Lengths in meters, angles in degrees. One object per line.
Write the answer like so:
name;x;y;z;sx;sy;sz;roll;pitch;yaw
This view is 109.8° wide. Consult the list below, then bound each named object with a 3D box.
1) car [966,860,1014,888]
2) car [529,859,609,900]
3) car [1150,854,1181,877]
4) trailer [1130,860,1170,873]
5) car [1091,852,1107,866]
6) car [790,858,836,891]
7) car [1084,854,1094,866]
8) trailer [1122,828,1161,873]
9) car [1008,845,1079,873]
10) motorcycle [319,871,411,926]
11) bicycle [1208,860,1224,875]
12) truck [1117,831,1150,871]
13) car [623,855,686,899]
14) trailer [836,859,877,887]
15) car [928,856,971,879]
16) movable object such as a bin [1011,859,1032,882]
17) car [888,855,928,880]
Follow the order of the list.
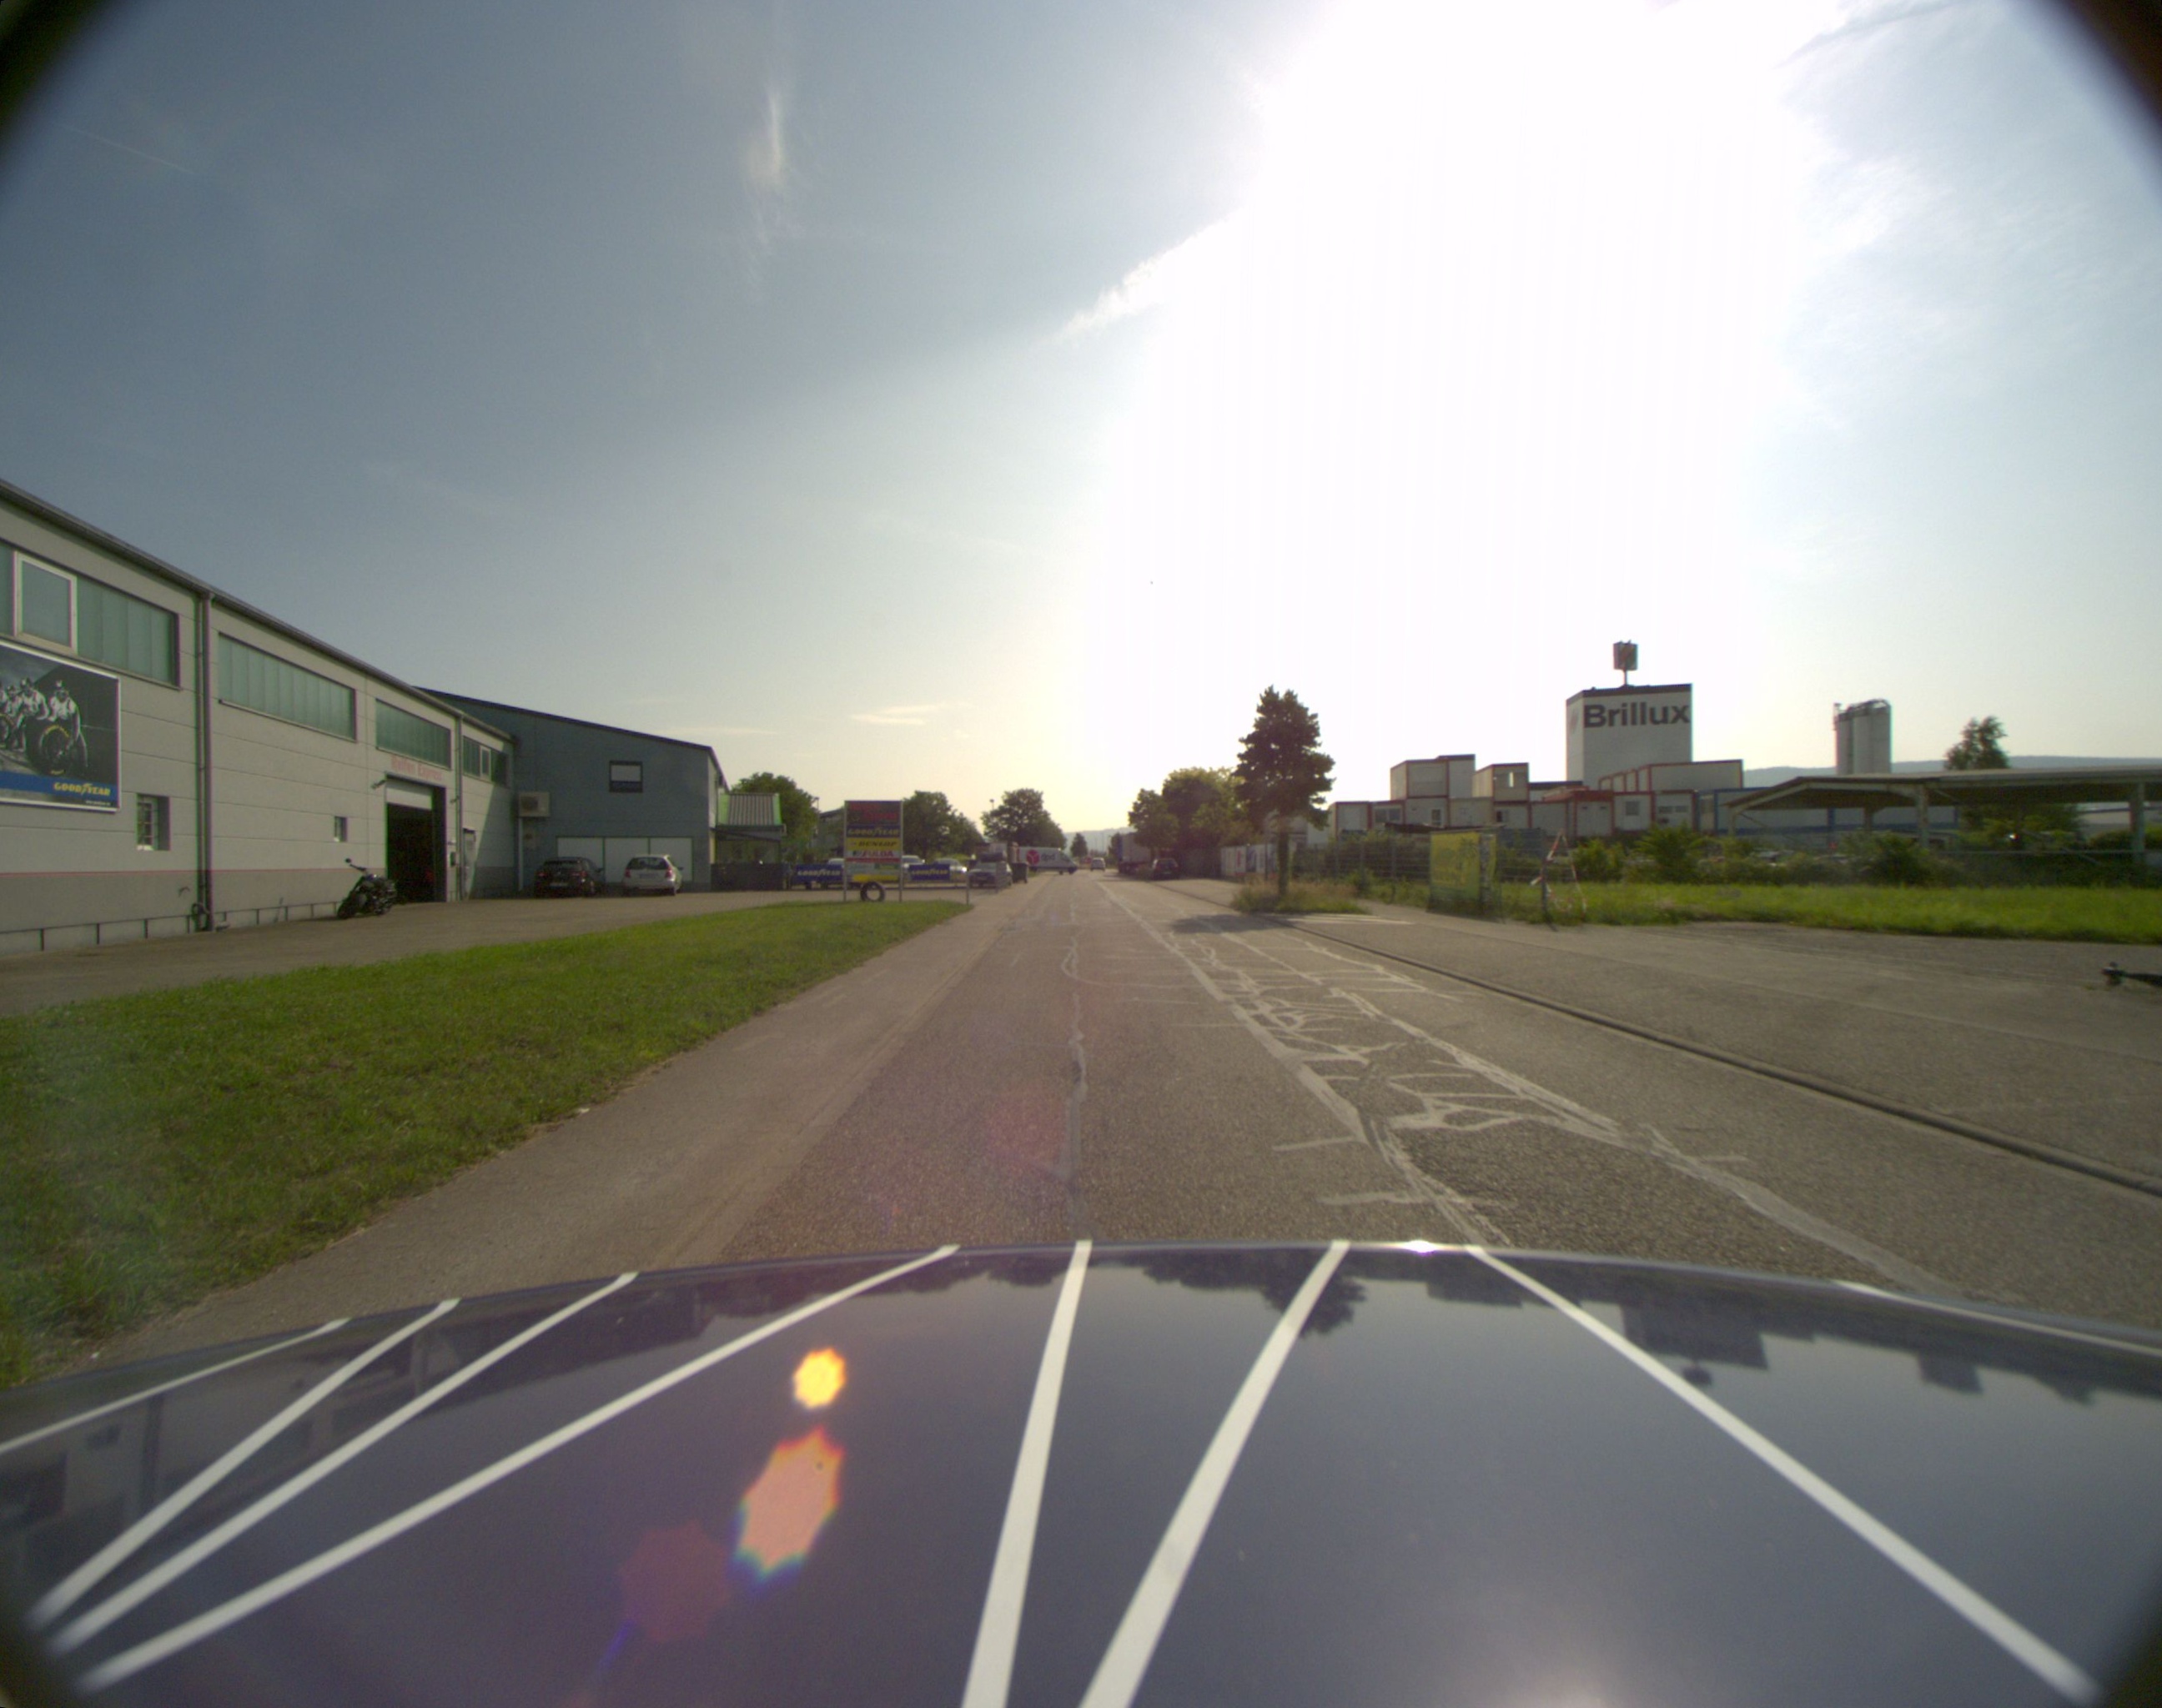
car;-4.700;1.023;39.914;1.677;1.360;4.395;-1;0;4
car;-18.887;0.880;28.172;1.684;1.394;3.704;-1;0;-22
car;5.745;0.772;51.847;1.691;1.461;4.093;-1;0;1
trailer;5.731;1.060;63.943;2.656;0.979;6.242;0;0;-1
car;2.231;0.602;94.735;1.816;1.617;4.248;0;0;-1
car;-12.886;0.951;36.353;1.647;1.457;4.452;-1;0;-25
car;1.622;1.240;163.772;1.999;2.532;6.989;0;0;0
trailer;5.582;-0.291;71.931;2.707;3.861;9.764;-2;0;0
car;-3.659;0.443;75.290;6.756;2.524;2.275;-2;0;-33
motorcycle;-15.858;0.954;16.898;0.804;1.088;2.198;-1;0;-25
bicycle;9.129;0.924;51.361;0.563;0.967;2.452;-1;0;-1
truck;5.499;-0.300;81.409;2.720;3.861;9.635;-2;0;0
car;-16.481;0.847;29.504;1.641;1.559;3.798;-1;0;-22
trailer;-10.887;0.918;36.709;1.496;1.241;2.971;-2;0;-24
car;-8.613;0.849;49.361;1.695;1.457;4.253;-1;0;-25
movable object such as a bin;-3.654;1.024;47.025;1.083;1.345;1.506;2;0;2
car;-11.441;0.880;50.094;1.723;1.563;4.124;-1;0;-25
